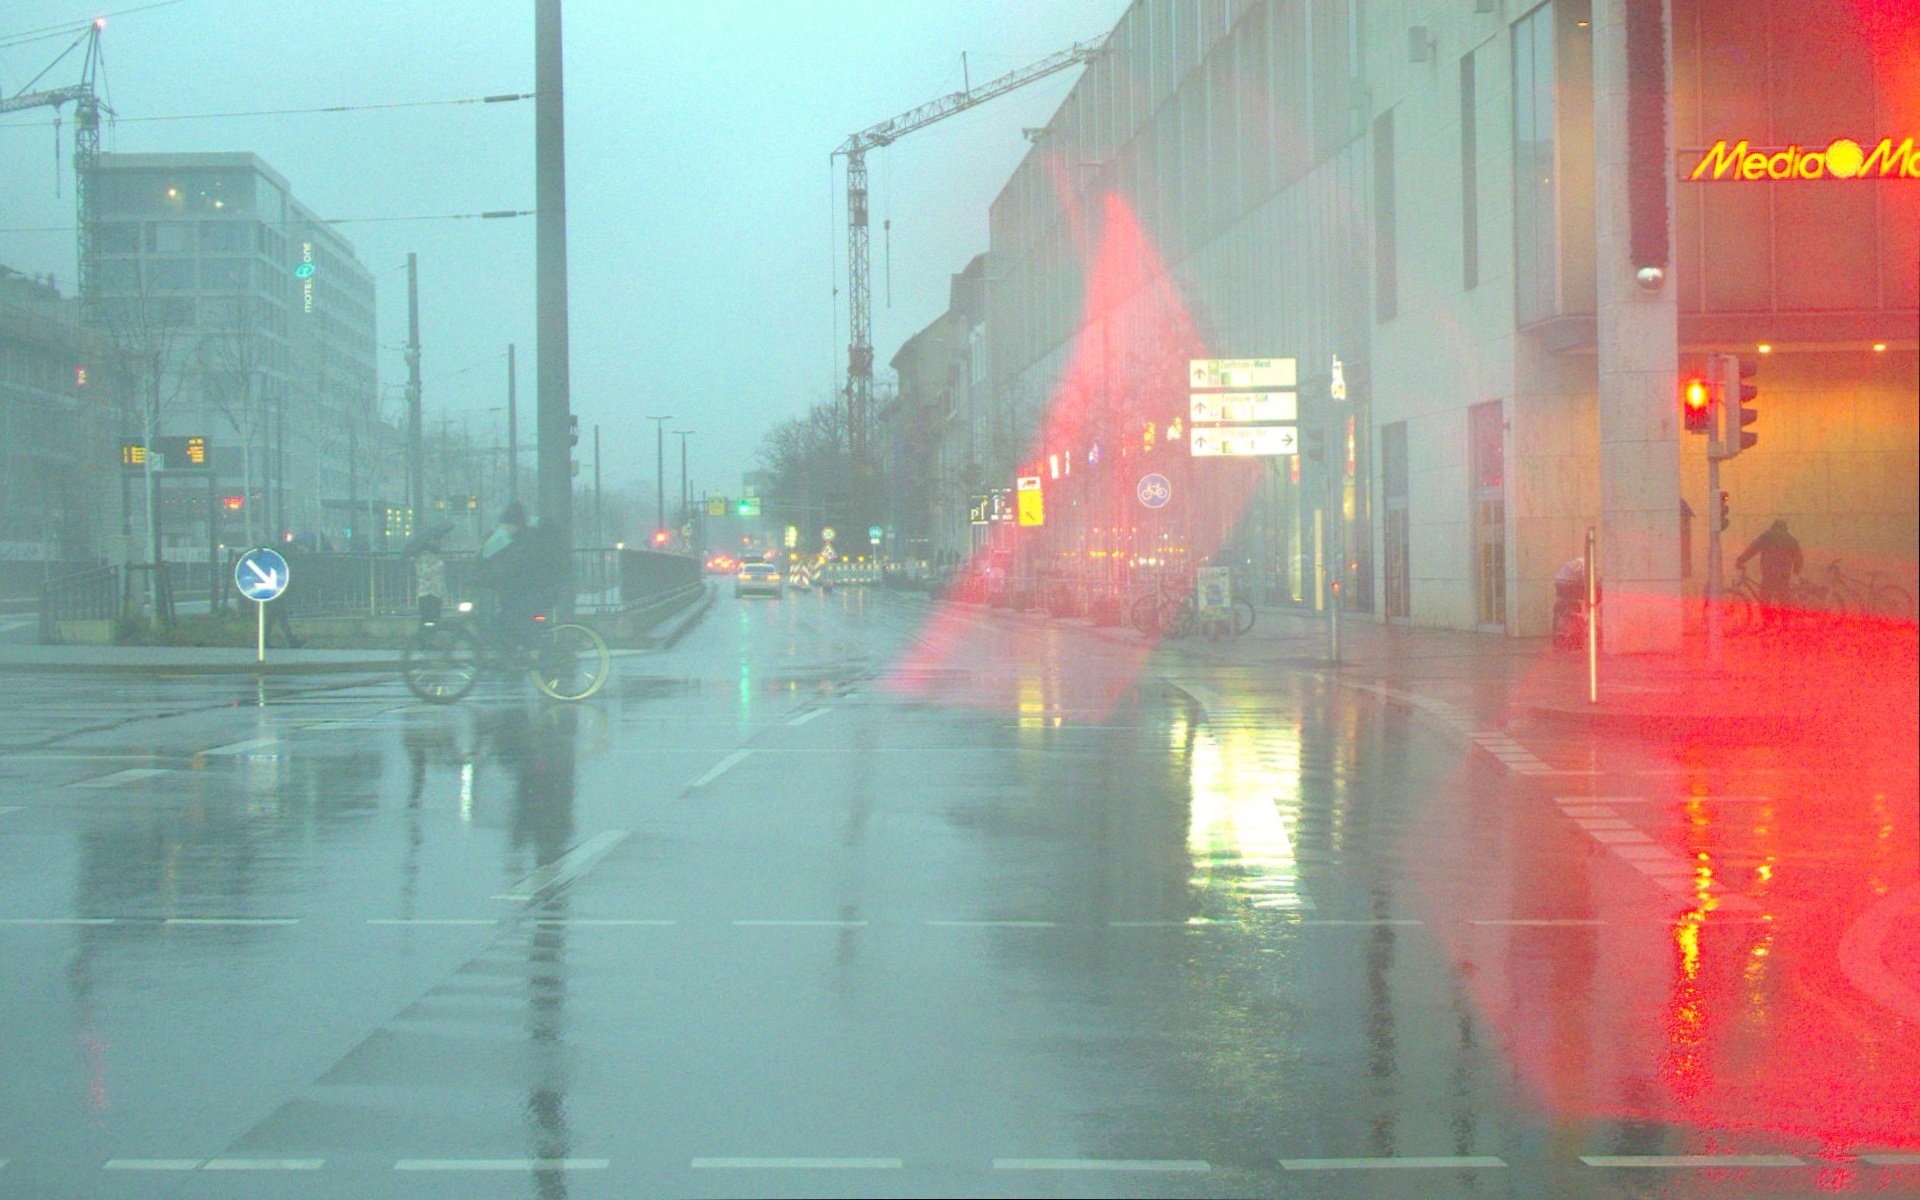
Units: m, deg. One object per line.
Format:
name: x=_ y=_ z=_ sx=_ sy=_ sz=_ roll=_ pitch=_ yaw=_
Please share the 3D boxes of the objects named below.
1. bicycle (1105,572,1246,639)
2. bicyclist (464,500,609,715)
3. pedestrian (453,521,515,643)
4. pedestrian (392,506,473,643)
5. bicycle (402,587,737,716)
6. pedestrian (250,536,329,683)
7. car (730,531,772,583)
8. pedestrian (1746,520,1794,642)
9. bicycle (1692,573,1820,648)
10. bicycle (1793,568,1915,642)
bicycle: x=3.849 y=0.093 z=61.549 sx=2.442 sy=1.150 sz=0.674 roll=-1 pitch=0 yaw=-1
bicyclist: x=-3.742 y=0.065 z=30.345 sx=1.156 sy=1.865 sz=0.745 roll=1 pitch=0 yaw=-15
pedestrian: x=-6.650 y=-0.254 z=48.002 sx=0.612 sy=1.680 sz=0.577 roll=1 pitch=1 yaw=42
pedestrian: x=-7.127 y=-0.340 z=46.458 sx=0.821 sy=1.825 sz=0.786 roll=1 pitch=0 yaw=-31
bicycle: x=-3.455 y=0.455 z=30.417 sx=2.855 sy=1.095 sz=0.745 roll=1 pitch=0 yaw=-14
pedestrian: x=-9.254 y=0.123 z=47.451 sx=0.785 sy=2.007 sz=0.726 roll=1 pitch=1 yaw=42
car: x=-8.278 y=-1.704 z=136.113 sx=1.577 sy=2.007 sz=3.172 roll=-1 pitch=1 yaw=-3
pedestrian: x=11.723 y=-0.275 z=49.766 sx=0.600 sy=1.739 sz=0.524 roll=1 pitch=0 yaw=8
bicycle: x=11.651 y=0.155 z=50.333 sx=1.768 sy=1.066 sz=0.524 roll=1 pitch=0 yaw=8
bicycle: x=13.213 y=0.069 z=50.823 sx=1.646 sy=1.066 sz=0.525 roll=1 pitch=0 yaw=-4
